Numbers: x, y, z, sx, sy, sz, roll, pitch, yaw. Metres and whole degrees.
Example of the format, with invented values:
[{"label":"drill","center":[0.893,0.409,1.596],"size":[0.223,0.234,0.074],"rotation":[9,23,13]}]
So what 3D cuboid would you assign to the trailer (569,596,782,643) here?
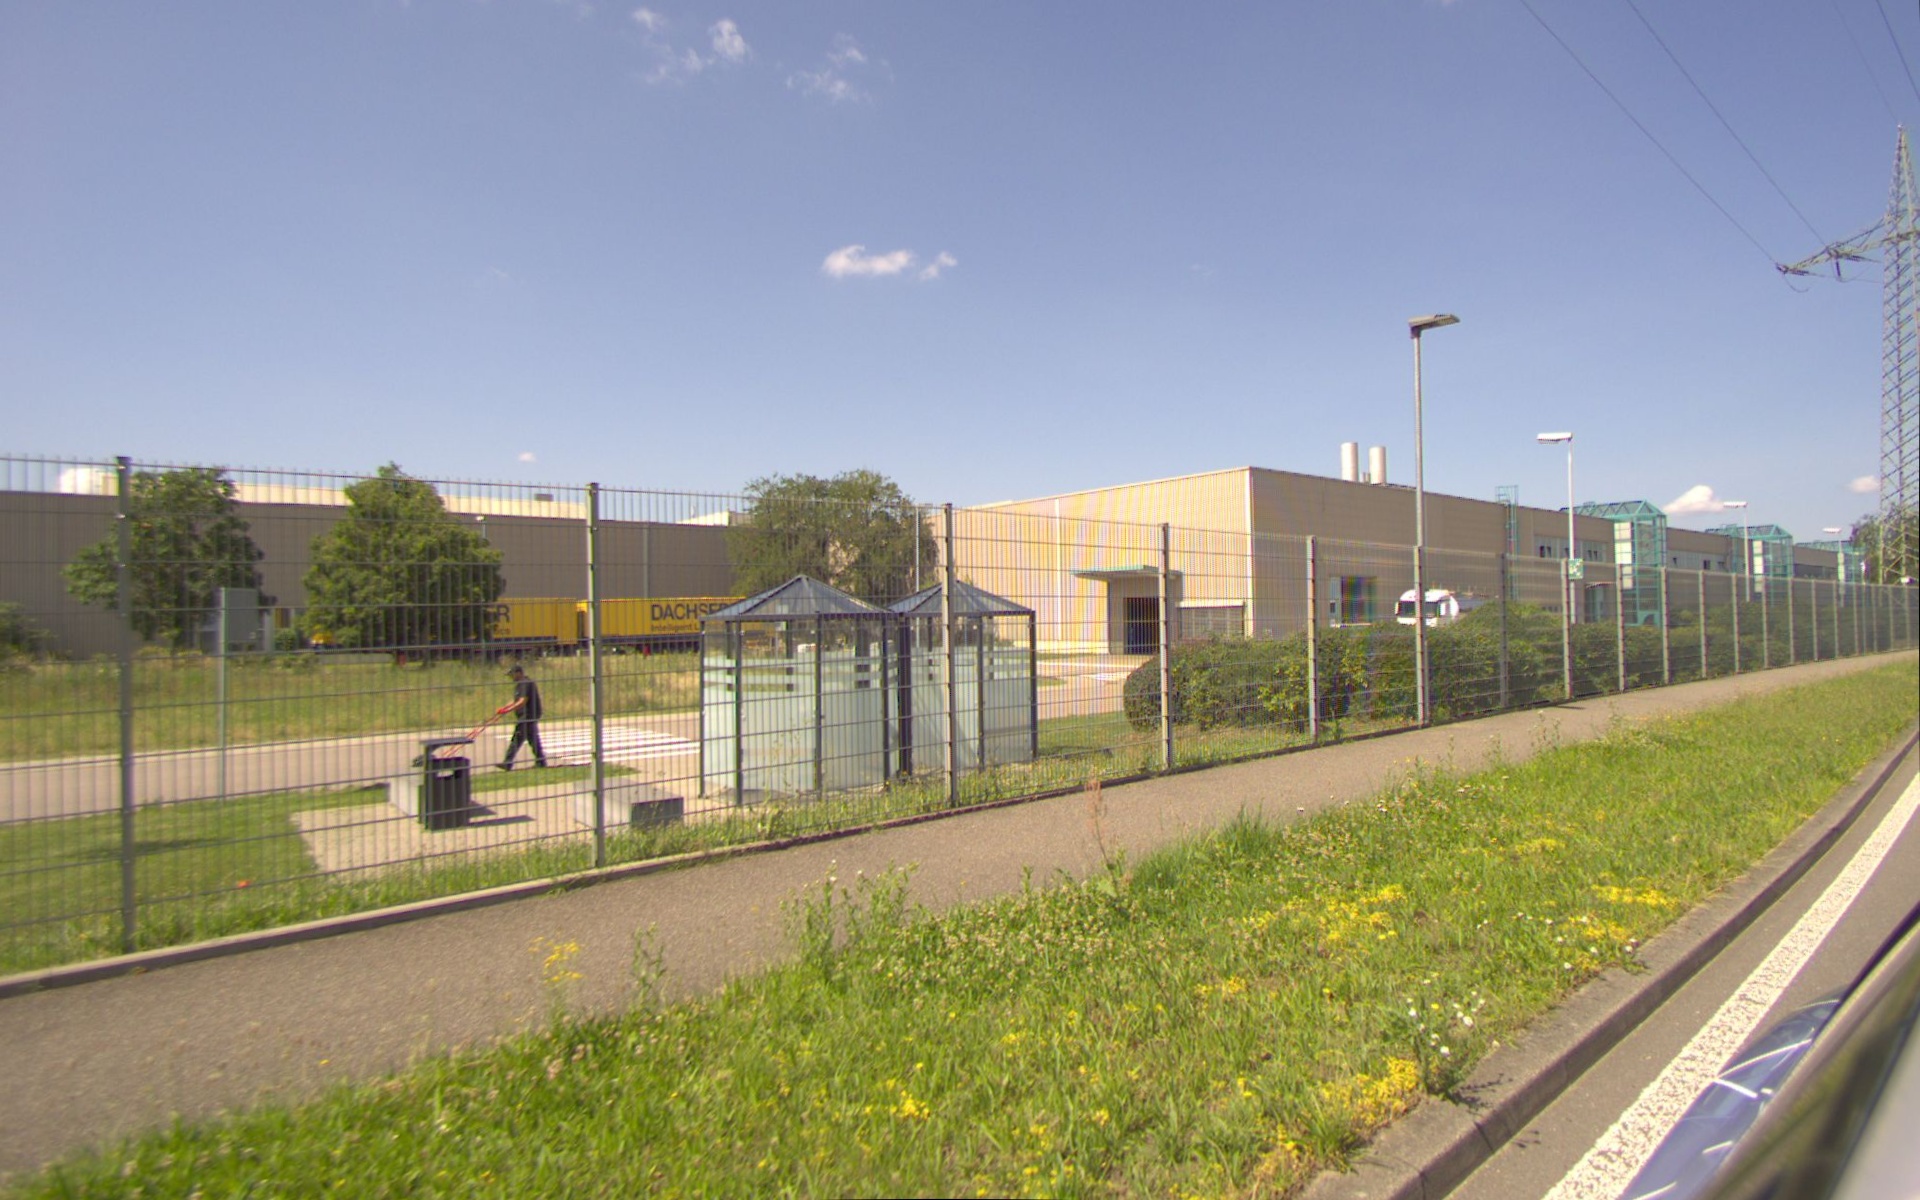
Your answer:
[{"label":"trailer","center":[-18.450,1.185,66.961],"size":[13.839,2.747,1.998],"rotation":[-1,0,-38]}]

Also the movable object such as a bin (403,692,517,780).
[{"label":"movable object such as a bin","center":[-7.800,2.099,15.829],"size":[1.540,1.201,0.420],"rotation":[0,-3,-40]}]

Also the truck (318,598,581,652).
[{"label":"truck","center":[-29.025,1.304,58.454],"size":[13.491,2.747,1.998],"rotation":[-1,0,-39]}]

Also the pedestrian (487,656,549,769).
[{"label":"pedestrian","center":[-7.194,1.808,16.475],"size":[0.778,1.752,0.592],"rotation":[0,-3,-40]}]

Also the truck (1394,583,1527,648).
[{"label":"truck","center":[31.511,0.834,63.420],"size":[11.464,3.789,2.863],"rotation":[-1,0,-38]}]
